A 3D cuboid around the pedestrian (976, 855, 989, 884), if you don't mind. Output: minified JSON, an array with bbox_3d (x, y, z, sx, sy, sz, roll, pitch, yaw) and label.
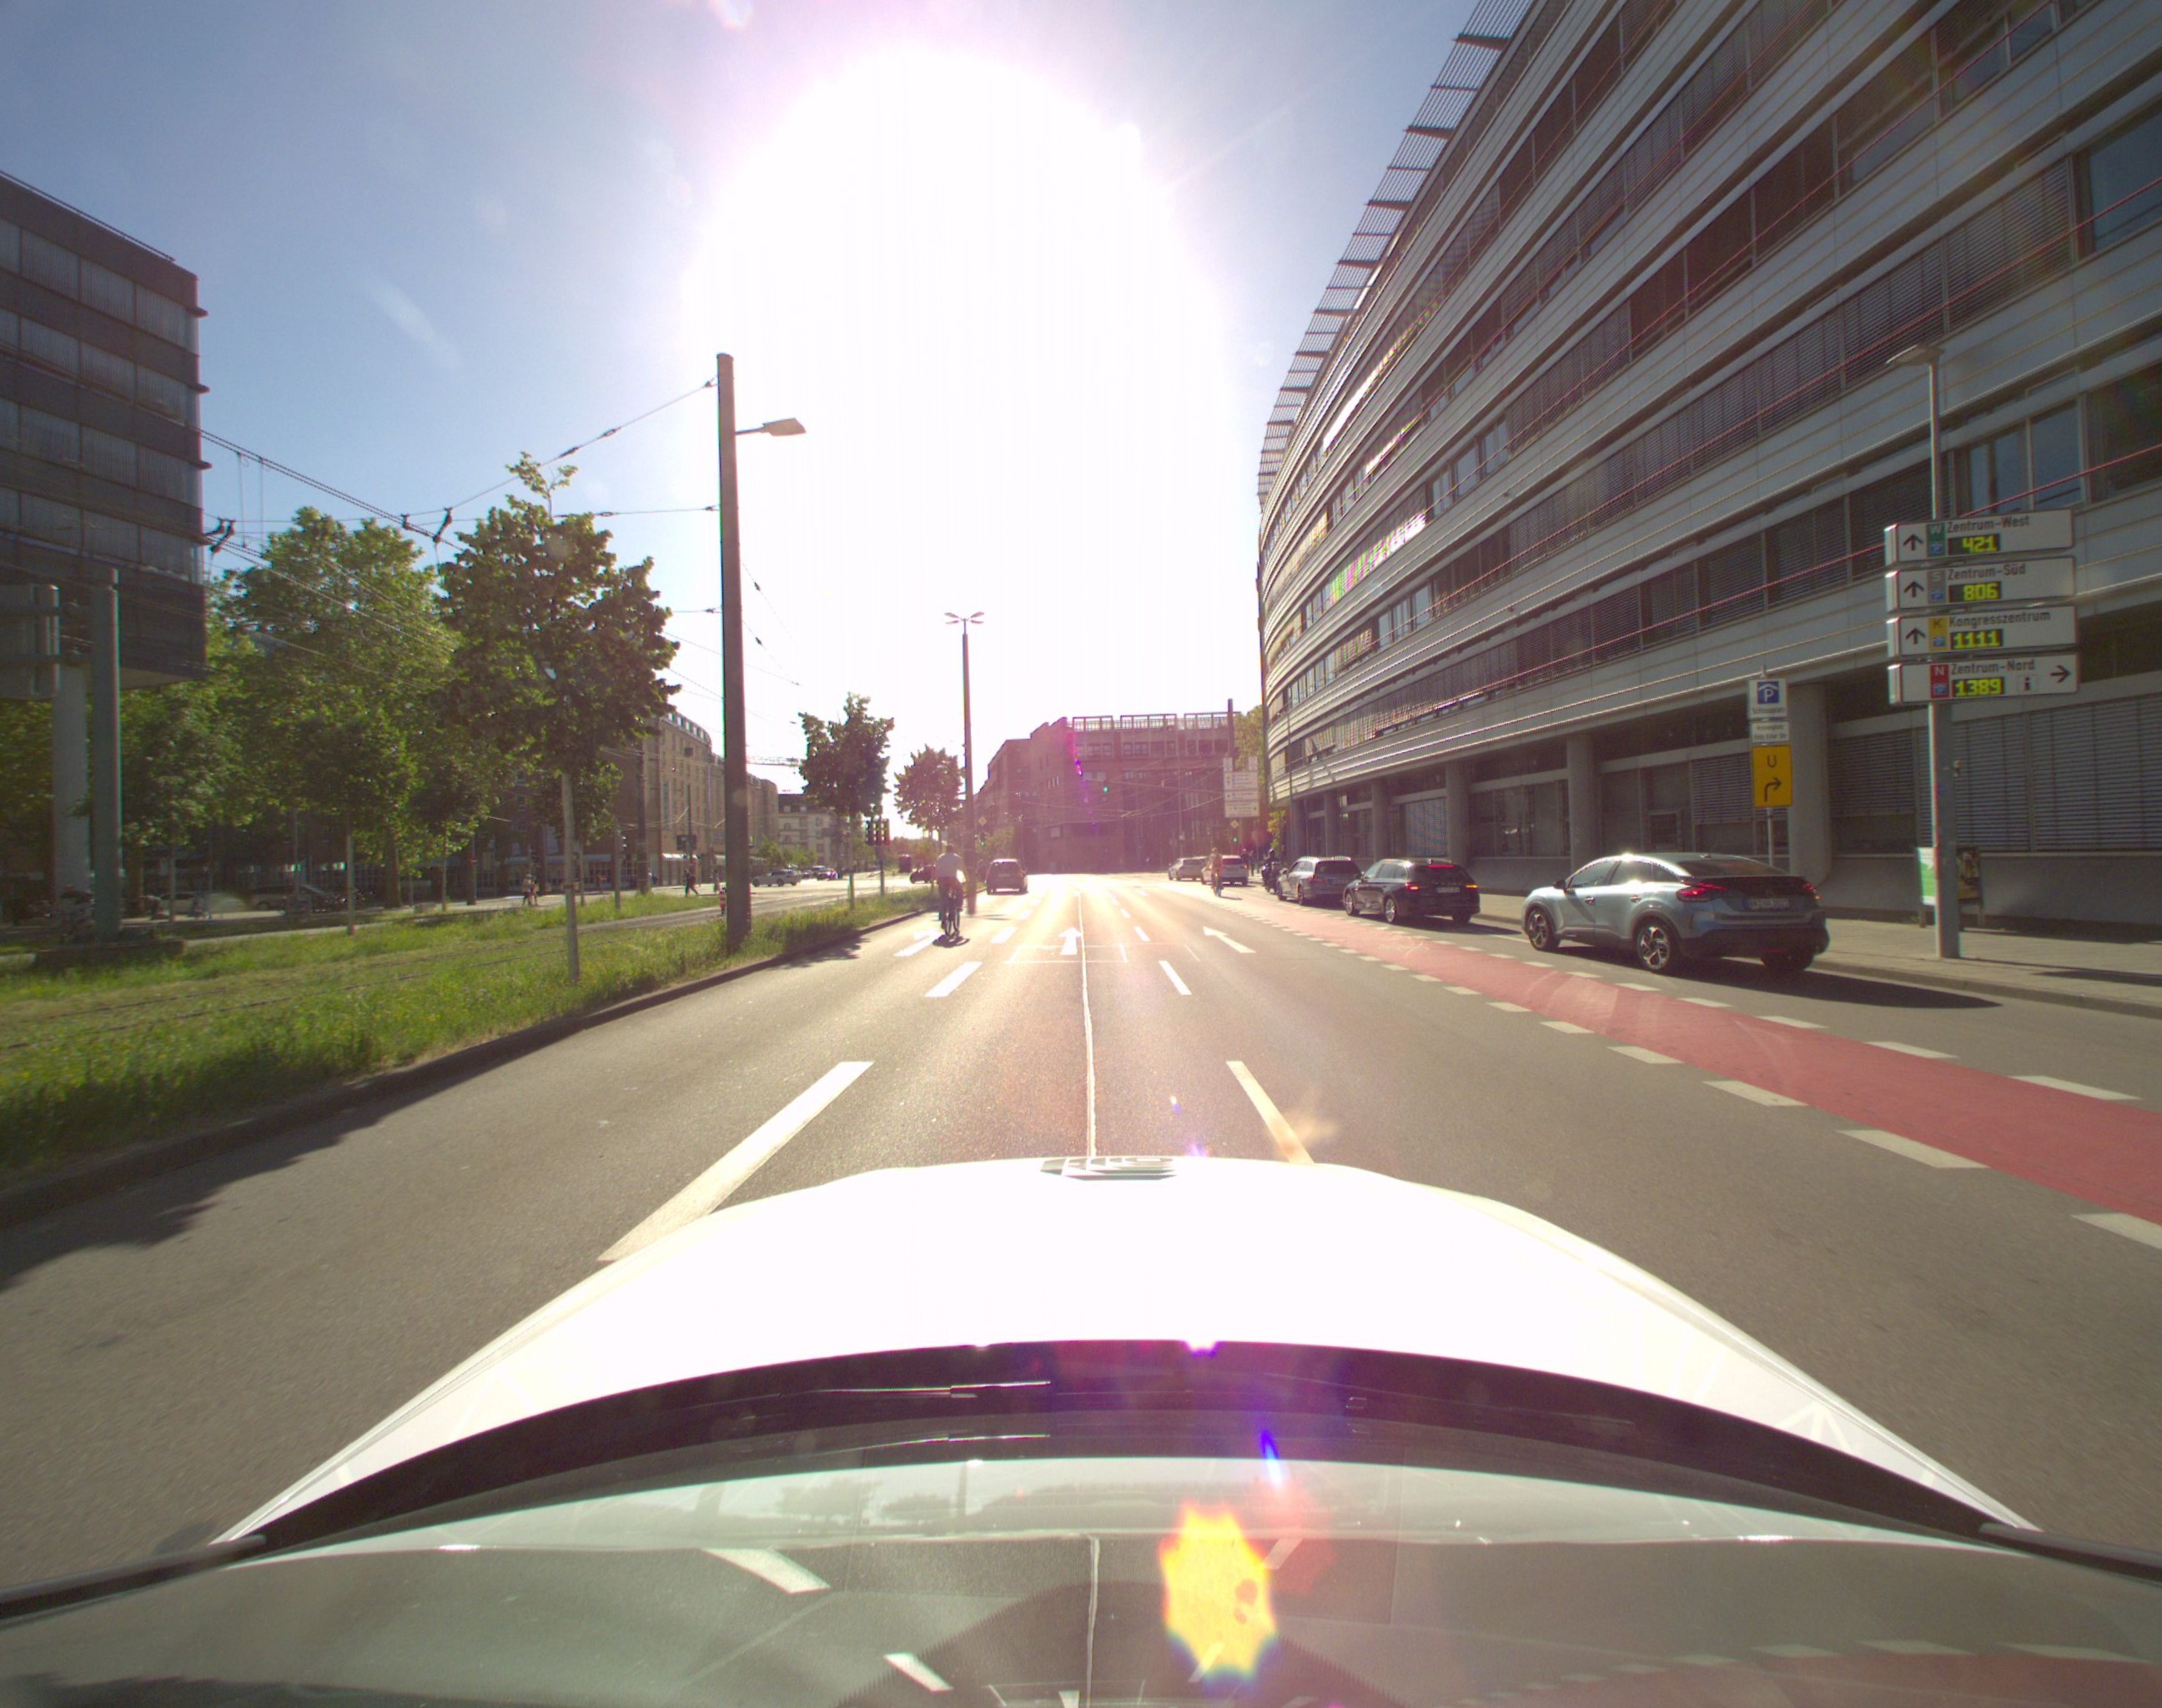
[{"bbox_3d":[-5.962,0.941,49.412,0.670,1.753,0.766,-2,-1,-13],"label":"pedestrian"}]

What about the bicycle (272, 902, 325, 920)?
[{"bbox_3d":[-39.390,2.850,41.001,2.024,0.799,0.374,-2,-1,-10],"label":"bicycle"}]

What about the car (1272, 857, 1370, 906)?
[{"bbox_3d":[7.606,0.823,26.291,1.716,1.396,4.787,-2,0,0],"label":"car"}]

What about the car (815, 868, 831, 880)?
[{"bbox_3d":[-34.261,2.652,108.157,1.611,1.398,3.902,-6,1,-13],"label":"car"}]

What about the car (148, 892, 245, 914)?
[{"bbox_3d":[-55.180,3.068,50.848,3.976,1.143,1.780,-2,0,-2],"label":"car"}]

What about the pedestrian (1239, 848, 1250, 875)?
[{"bbox_3d":[11.060,0.517,55.067,0.633,1.798,0.610,-3,0,12],"label":"pedestrian"}]

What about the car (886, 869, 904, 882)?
[{"bbox_3d":[-26.794,3.066,117.470,2.267,1.727,3.922,-2,0,-16],"label":"car"}]

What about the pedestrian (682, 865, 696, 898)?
[{"bbox_3d":[-22.348,1.556,46.472,0.585,1.831,0.492,-2,-1,-39],"label":"pedestrian"}]

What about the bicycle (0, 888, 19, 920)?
[{"bbox_3d":[-47.846,2.200,35.305,2.368,1.352,0.463,-2,-1,-15],"label":"bicycle"}]

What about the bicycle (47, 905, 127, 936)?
[{"bbox_3d":[-32.716,2.172,26.839,0.352,0.926,1.894,-2,-2,-1],"label":"bicycle"}]

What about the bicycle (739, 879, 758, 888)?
[{"bbox_3d":[-49.907,4.410,122.100,2.479,1.310,0.732,-2,-1,-3],"label":"bicycle"}]

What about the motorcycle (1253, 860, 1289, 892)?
[{"bbox_3d":[7.603,0.871,32.654,0.826,1.201,2.389,-1,-1,-1],"label":"motorcycle"}]

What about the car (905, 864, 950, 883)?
[{"bbox_3d":[-12.804,1.612,67.838,3.538,1.449,1.669,-2,-1,37],"label":"car"}]

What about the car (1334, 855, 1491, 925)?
[{"bbox_3d":[7.630,0.759,19.284,1.717,1.422,4.634,-2,0,-1],"label":"car"}]

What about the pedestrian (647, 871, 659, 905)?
[{"bbox_3d":[-23.578,1.865,44.826,0.464,1.831,0.453,-2,-1,-39],"label":"pedestrian"}]

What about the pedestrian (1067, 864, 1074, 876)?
[{"bbox_3d":[-1.345,2.047,103.911,0.619,1.563,0.981,-2,-1,-16],"label":"pedestrian"}]

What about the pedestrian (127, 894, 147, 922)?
[{"bbox_3d":[-50.322,2.896,43.402,0.640,1.452,0.504,-2,-1,26],"label":"pedestrian"}]

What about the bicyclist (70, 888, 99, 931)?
[{"bbox_3d":[-32.729,1.810,26.756,0.339,1.377,0.481,-2,-2,-2],"label":"bicyclist"}]

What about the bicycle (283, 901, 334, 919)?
[{"bbox_3d":[-39.908,2.876,42.087,2.024,0.799,0.374,-2,-1,-10],"label":"bicycle"}]

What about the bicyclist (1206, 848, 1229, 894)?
[{"bbox_3d":[5.268,0.645,31.548,0.647,1.752,1.045,-2,0,-1],"label":"bicyclist"}]

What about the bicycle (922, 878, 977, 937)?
[{"bbox_3d":[-2.702,1.064,17.015,0.684,1.069,2.697,0,0,0],"label":"bicycle"}]

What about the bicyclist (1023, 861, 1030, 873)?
[{"bbox_3d":[-6.342,1.534,94.624,0.593,1.335,0.928,-1,-1,-15],"label":"bicyclist"}]

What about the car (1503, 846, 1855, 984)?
[{"bbox_3d":[7.974,0.702,11.499,1.716,1.524,4.398,-2,0,0],"label":"car"}]

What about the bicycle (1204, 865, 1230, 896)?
[{"bbox_3d":[5.284,0.997,31.715,0.647,1.110,1.758,-2,0,0],"label":"bicycle"}]

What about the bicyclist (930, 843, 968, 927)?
[{"bbox_3d":[-2.705,0.614,16.768,0.616,1.669,1.019,0,0,0],"label":"bicyclist"}]

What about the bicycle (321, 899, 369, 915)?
[{"bbox_3d":[-40.232,2.895,44.511,2.024,0.799,0.374,-2,-1,-10],"label":"bicycle"}]

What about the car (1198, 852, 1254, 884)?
[{"bbox_3d":[7.476,0.670,42.359,1.902,1.583,4.132,0,0,-4],"label":"car"}]

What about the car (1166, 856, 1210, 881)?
[{"bbox_3d":[6.862,0.881,52.450,1.904,1.541,4.129,0,0,-6],"label":"car"}]

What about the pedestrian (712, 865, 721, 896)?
[{"bbox_3d":[-21.810,1.572,48.751,0.388,1.831,0.459,-2,-1,-32],"label":"pedestrian"}]

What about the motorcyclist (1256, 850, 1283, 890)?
[{"bbox_3d":[7.552,0.637,32.688,0.826,1.561,0.941,-1,-1,-1],"label":"motorcyclist"}]

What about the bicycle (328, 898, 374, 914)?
[{"bbox_3d":[-41.030,2.931,45.764,2.024,0.799,0.374,-2,-1,-10],"label":"bicycle"}]

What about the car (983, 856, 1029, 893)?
[{"bbox_3d":[-3.391,0.894,37.205,1.721,1.564,3.676,-2,0,0],"label":"car"}]

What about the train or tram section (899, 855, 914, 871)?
[{"bbox_3d":[-35.016,1.875,163.964,2.327,3.003,13.114,-2,0,-10],"label":"train or tram section"}]

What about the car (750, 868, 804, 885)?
[{"bbox_3d":[-27.853,2.038,74.617,4.358,1.381,2.078,-2,-1,23],"label":"car"}]

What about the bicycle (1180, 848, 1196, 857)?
[{"bbox_3d":[12.422,-0.215,94.399,1.675,0.994,0.668,-2,-1,-21],"label":"bicycle"}]

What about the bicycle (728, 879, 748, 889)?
[{"bbox_3d":[-50.666,4.424,120.322,2.479,1.310,0.732,-2,-1,-3],"label":"bicycle"}]

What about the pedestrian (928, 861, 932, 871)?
[{"bbox_3d":[-23.858,1.896,128.792,0.539,1.655,0.703,-2,-1,-15],"label":"pedestrian"}]

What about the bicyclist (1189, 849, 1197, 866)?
[{"bbox_3d":[13.047,0.386,94.534,0.607,1.884,0.646,-2,-1,-20],"label":"bicyclist"}]

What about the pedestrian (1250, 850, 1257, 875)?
[{"bbox_3d":[11.645,0.545,54.981,0.424,1.645,0.564,-3,0,12],"label":"pedestrian"}]

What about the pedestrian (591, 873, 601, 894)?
[{"bbox_3d":[-45.460,2.752,76.288,0.523,1.932,0.748,-2,-1,-13],"label":"pedestrian"}]

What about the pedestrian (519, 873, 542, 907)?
[{"bbox_3d":[-30.776,2.025,45.527,0.757,1.831,0.626,-2,0,8],"label":"pedestrian"}]

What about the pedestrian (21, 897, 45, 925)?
[{"bbox_3d":[-49.920,2.711,38.780,0.428,1.293,0.545,-2,-1,-10],"label":"pedestrian"}]

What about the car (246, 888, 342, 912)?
[{"bbox_3d":[-49.550,2.874,51.311,3.976,1.231,1.999,-2,0,-2],"label":"car"}]

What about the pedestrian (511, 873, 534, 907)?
[{"bbox_3d":[-30.615,1.957,44.649,0.757,1.831,0.625,-2,0,4],"label":"pedestrian"}]

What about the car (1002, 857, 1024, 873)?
[{"bbox_3d":[-7.410,1.134,88.420,1.783,1.703,4.121,0,0,-12],"label":"car"}]

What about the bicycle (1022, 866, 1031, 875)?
[{"bbox_3d":[-6.368,1.888,94.763,0.604,0.985,2.303,-1,-1,-15],"label":"bicycle"}]
